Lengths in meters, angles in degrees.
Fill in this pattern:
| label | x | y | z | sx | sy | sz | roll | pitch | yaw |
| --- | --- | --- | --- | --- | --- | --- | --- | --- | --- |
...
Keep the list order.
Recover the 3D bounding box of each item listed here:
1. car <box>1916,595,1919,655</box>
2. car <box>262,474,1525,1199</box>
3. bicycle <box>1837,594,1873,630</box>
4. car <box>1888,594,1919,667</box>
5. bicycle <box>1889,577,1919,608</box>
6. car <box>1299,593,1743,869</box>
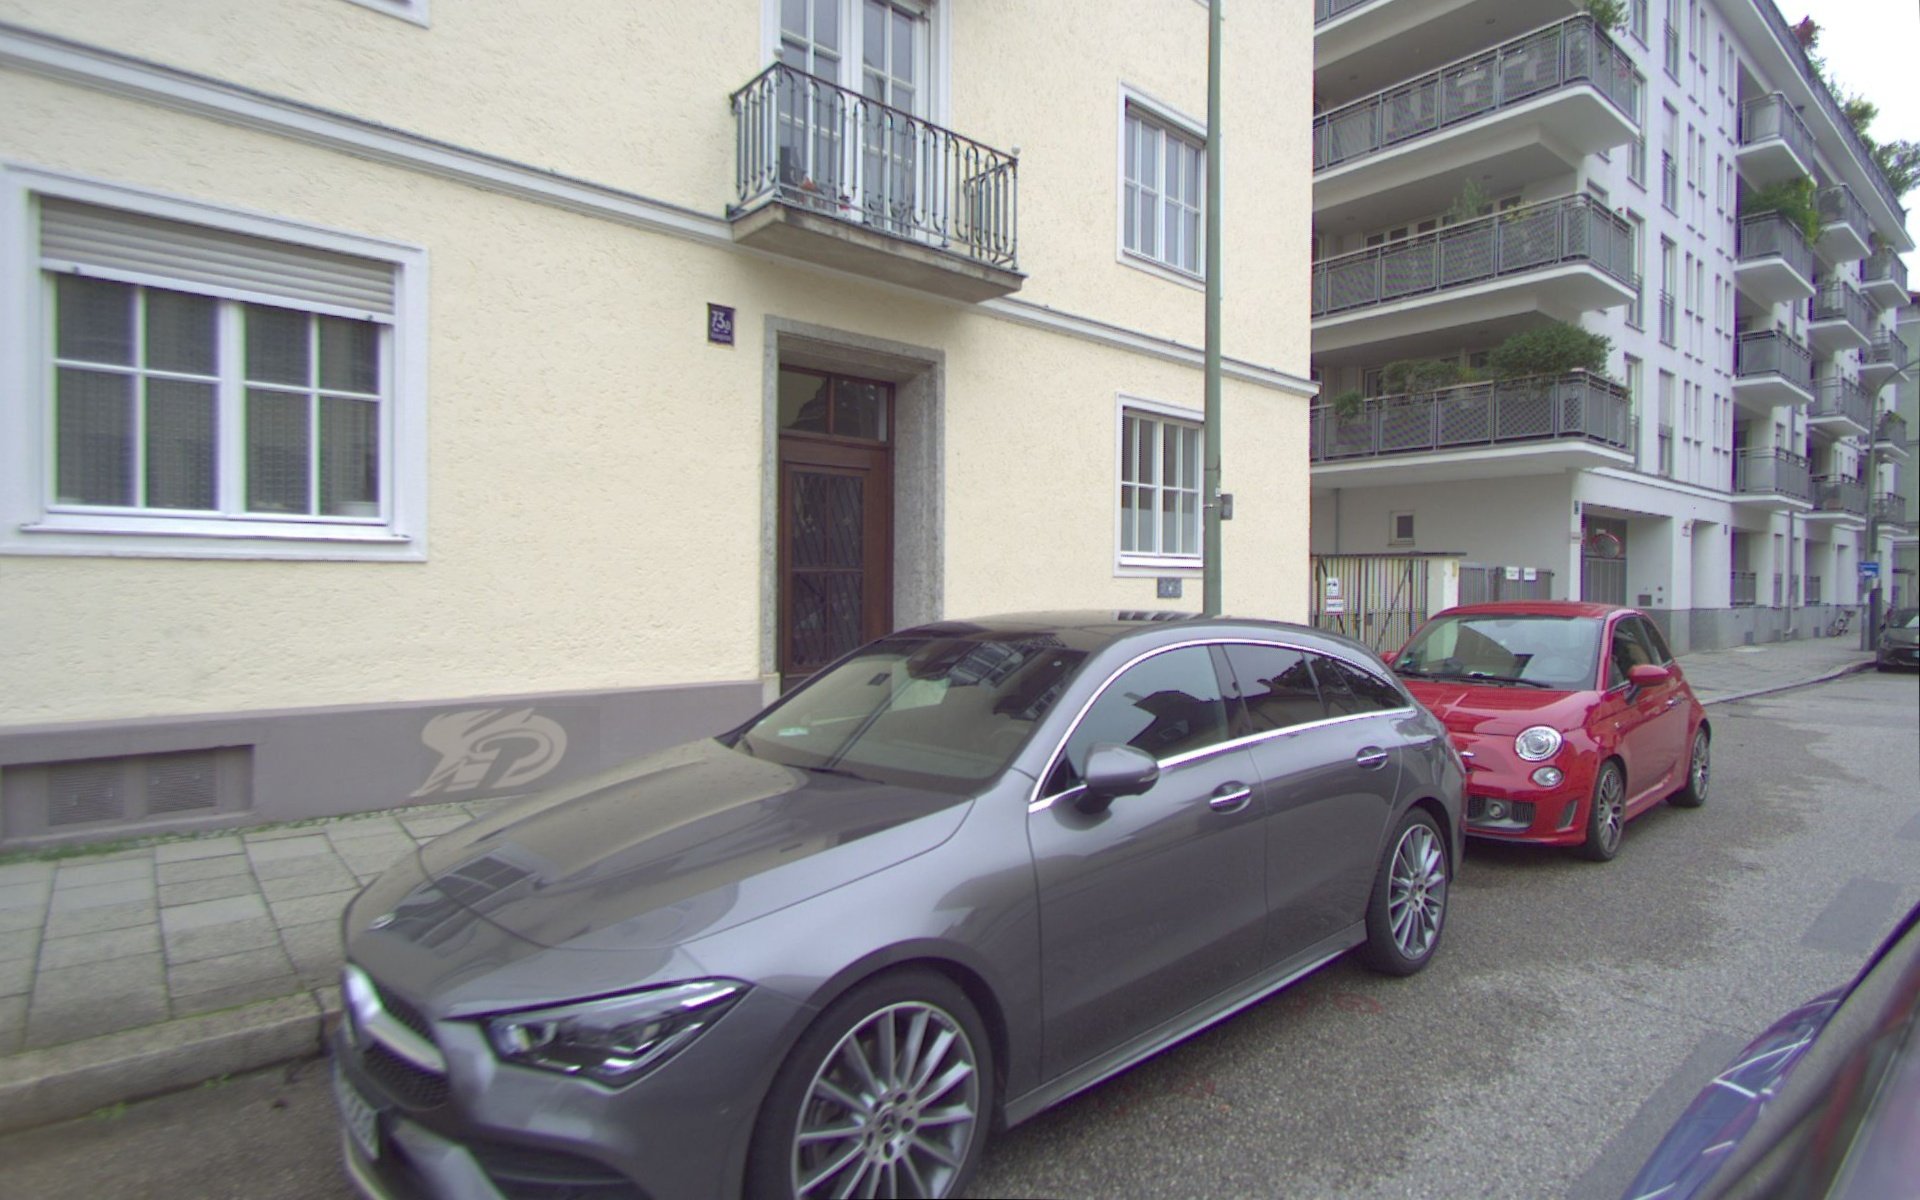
| label | x | y | z | sx | sy | sz | roll | pitch | yaw |
| --- | --- | --- | --- | --- | --- | --- | --- | --- | --- |
| car | 25.334 | 0.604 | 25.343 | 3.680 | 1.485 | 1.620 | 0 | 0 | -40 |
| car | 0.281 | 0.518 | 3.729 | 4.535 | 1.448 | 1.775 | 0 | 0 | -42 |
| bicycle | 29.793 | 0.391 | 33.696 | 1.778 | 1.111 | 0.570 | -1 | 4 | -40 |
| car | 21.727 | 0.631 | 22.157 | 4.146 | 1.494 | 1.773 | 0 | 1 | -43 |
| bicycle | 36.445 | -0.302 | 38.941 | 1.938 | 1.187 | 0.803 | -1 | 1 | -40 |
| car | 4.119 | 0.678 | 7.189 | 3.691 | 1.448 | 1.657 | 0 | 0 | -42 |
